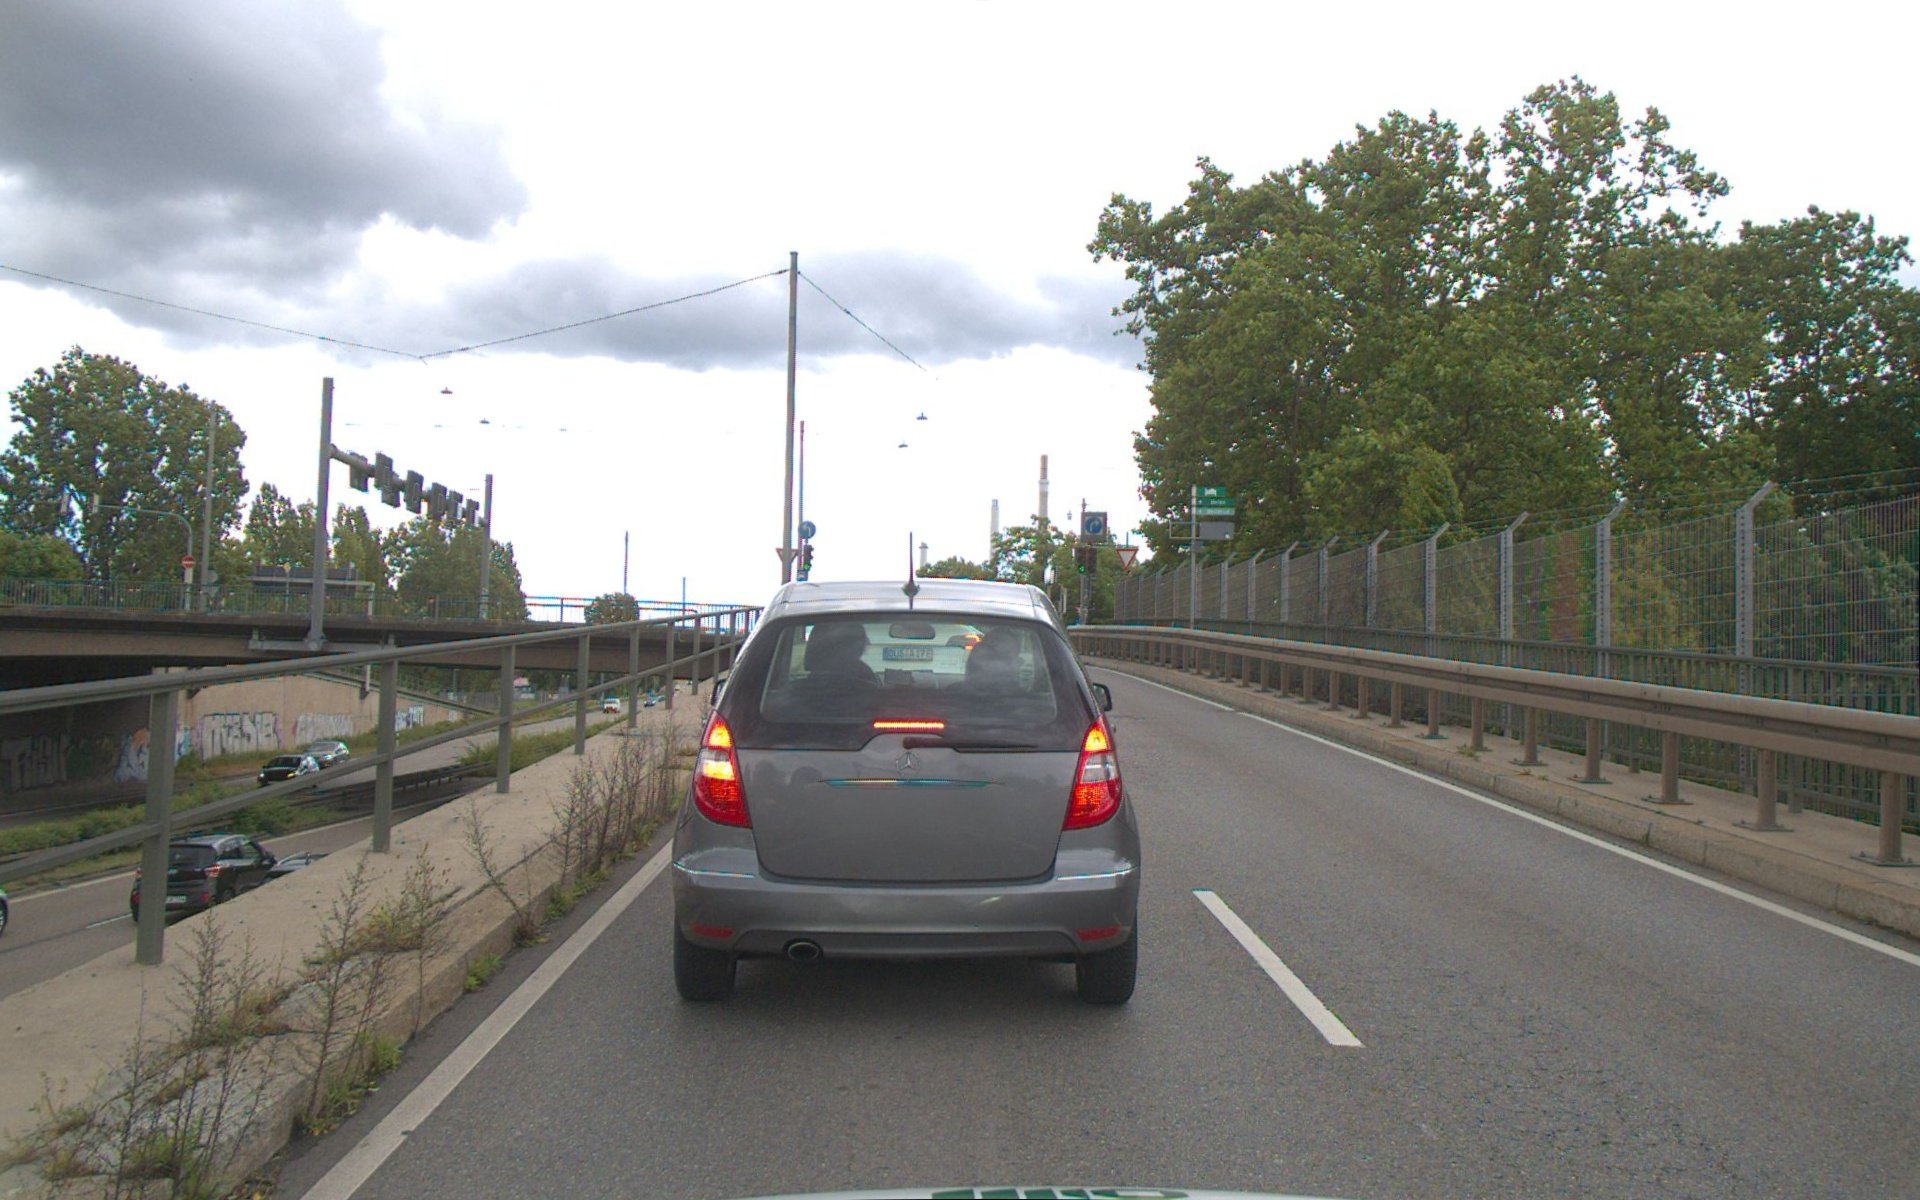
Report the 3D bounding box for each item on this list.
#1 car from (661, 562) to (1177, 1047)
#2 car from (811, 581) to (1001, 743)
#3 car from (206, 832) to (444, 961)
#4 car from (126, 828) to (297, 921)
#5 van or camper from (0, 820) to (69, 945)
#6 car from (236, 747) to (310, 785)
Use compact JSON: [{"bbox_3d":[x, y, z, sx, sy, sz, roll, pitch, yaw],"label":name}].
[{"bbox_3d":[-0.083,0.665,7.544,1.713,1.608,4.086,0,0,1],"label":"car"},{"bbox_3d":[-0.590,0.613,18.962,1.953,1.631,3.999,0,1,-1],"label":"car"},{"bbox_3d":[-10.487,4.882,27.706,1.894,1.527,4.306,-1,-2,7],"label":"car"},{"bbox_3d":[-14.059,5.134,31.267,1.689,1.350,3.644,0,-3,-3],"label":"car"},{"bbox_3d":[-16.804,4.679,26.306,1.844,1.902,6.345,1,-4,-1],"label":"van or camper"},{"bbox_3d":[-33.579,8.099,80.960,1.953,1.691,3.997,1,-4,-2],"label":"car"}]
